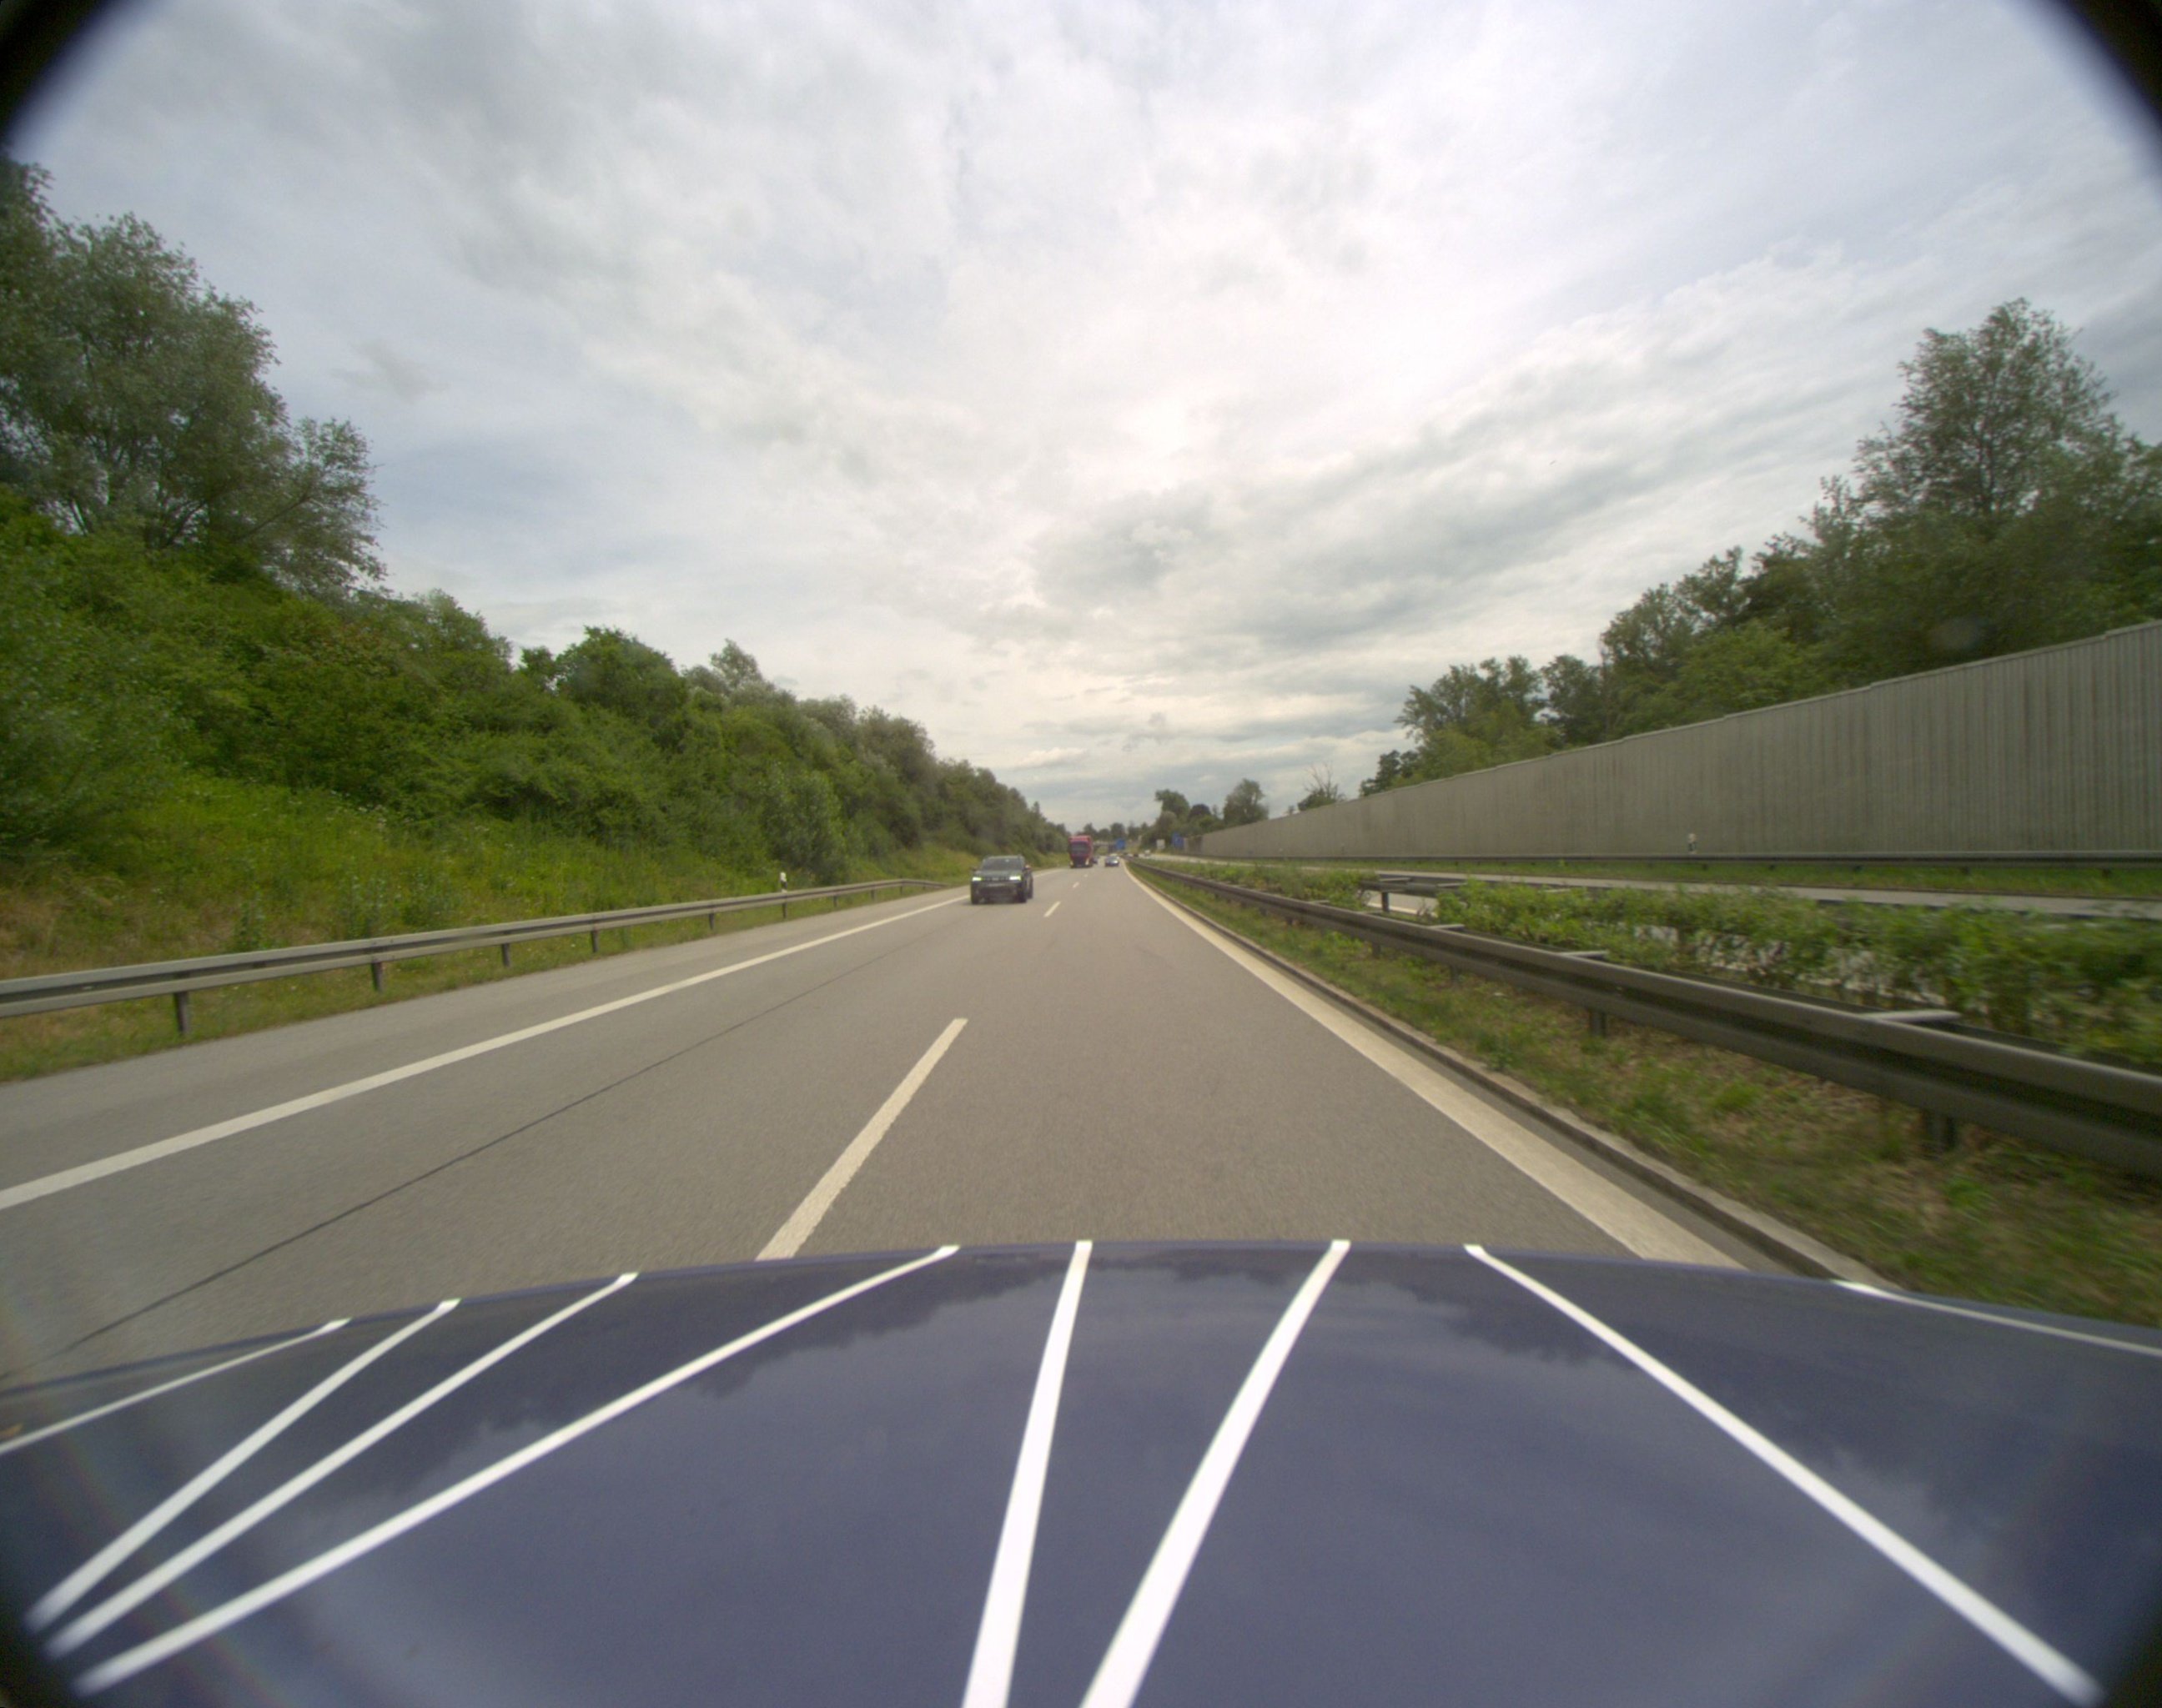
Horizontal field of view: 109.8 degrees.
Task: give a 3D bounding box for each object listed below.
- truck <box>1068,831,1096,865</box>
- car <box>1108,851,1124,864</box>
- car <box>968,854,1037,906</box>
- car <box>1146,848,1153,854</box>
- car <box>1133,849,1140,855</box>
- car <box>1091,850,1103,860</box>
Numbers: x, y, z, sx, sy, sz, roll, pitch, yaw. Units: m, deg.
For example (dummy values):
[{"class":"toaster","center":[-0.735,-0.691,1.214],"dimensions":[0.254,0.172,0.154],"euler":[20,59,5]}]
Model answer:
[{"class":"truck","center":[0.266,-0.796,98.716],"dimensions":[2.933,4.068,11.344],"euler":[-2,0,3]},{"class":"car","center":[4.507,0.454,98.375],"dimensions":[1.889,1.608,4.000],"euler":[-1,0,2]},{"class":"car","center":[-2.649,0.842,26.572],"dimensions":[1.889,1.608,4.000],"euler":[-1,0,1]},{"class":"car","center":[21.295,-0.946,236.372],"dimensions":[1.998,1.761,4.000],"euler":[-3,0,2]},{"class":"car","center":[16.676,-0.685,228.900],"dimensions":[1.998,1.761,4.000],"euler":[-3,0,2]},{"class":"car","center":[2.734,0.208,130.373],"dimensions":[1.889,1.608,4.001],"euler":[-1,0,3]}]
